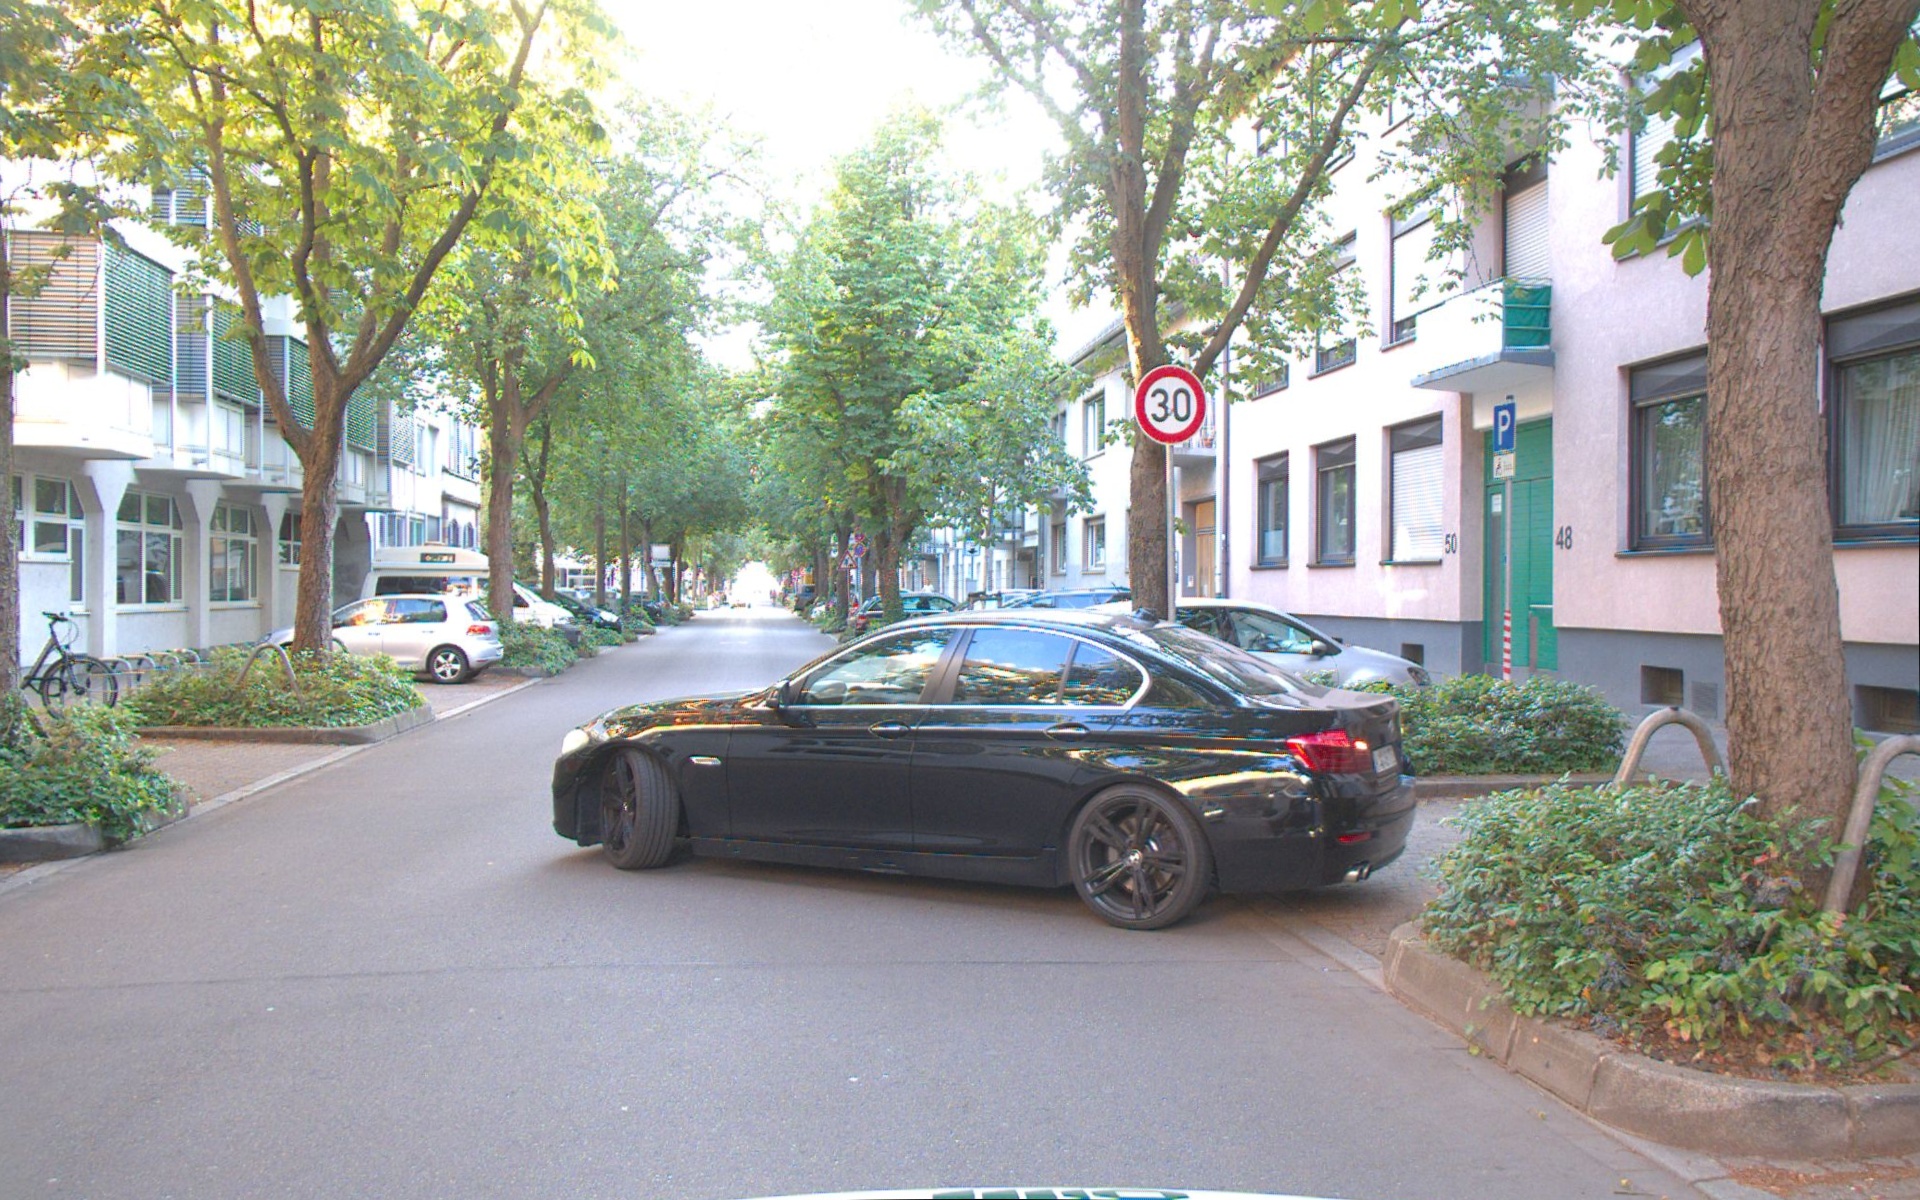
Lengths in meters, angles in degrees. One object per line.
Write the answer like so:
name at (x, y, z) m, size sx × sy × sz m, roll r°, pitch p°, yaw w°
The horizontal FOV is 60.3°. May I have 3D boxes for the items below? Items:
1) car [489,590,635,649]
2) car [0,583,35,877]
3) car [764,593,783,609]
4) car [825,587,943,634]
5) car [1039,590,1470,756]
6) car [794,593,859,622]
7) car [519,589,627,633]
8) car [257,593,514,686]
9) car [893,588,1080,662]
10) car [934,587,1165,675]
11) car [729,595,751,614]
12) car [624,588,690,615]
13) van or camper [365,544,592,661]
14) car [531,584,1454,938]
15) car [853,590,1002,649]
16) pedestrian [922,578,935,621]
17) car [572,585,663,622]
car at (-11.490, 0.543, 47.930) m, size 3.891 × 1.647 × 1.783 m, roll 0°, pitch 0°, yaw -6°
car at (-7.106, 0.694, 7.938) m, size 4.272 × 1.544 × 1.782 m, roll 0°, pitch 0°, yaw -7°
car at (-18.274, 0.094, 162.363) m, size 1.787 × 1.557 × 3.995 m, roll -1°, pitch 0°, yaw -6°
car at (-2.626, 0.346, 56.848) m, size 3.894 × 1.554 × 1.782 m, roll 0°, pitch 0°, yaw -9°
car at (2.812, 0.657, 16.178) m, size 3.836 × 1.502 × 1.661 m, roll 0°, pitch 0°, yaw -9°
car at (-8.161, 0.440, 100.715) m, size 3.891 × 1.713 × 1.783 m, roll 0°, pitch 0°, yaw -6°
car at (-15.009, 0.415, 64.344) m, size 3.891 × 1.647 × 1.783 m, roll 0°, pitch 0°, yaw -6°
car at (-9.863, 0.653, 28.650) m, size 3.891 × 1.544 × 1.783 m, roll 0°, pitch 0°, yaw -6°
car at (0.544, 0.514, 36.220) m, size 3.893 × 1.554 × 1.782 m, roll 0°, pitch 0°, yaw -8°
car at (1.571, 0.525, 29.778) m, size 3.894 × 1.502 × 1.781 m, roll 0°, pitch 0°, yaw -9°
car at (-19.117, 0.372, 143.668) m, size 1.745 × 1.589 × 4.162 m, roll 0°, pitch 0°, yaw -6°
car at (-18.775, 0.067, 102.636) m, size 3.891 × 1.647 × 1.783 m, roll 0°, pitch 0°, yaw -6°
van or camper at (-10.672, 0.037, 36.952) m, size 4.575 × 2.521 × 1.997 m, roll 0°, pitch 0°, yaw -7°
car at (0.110, 0.676, 8.883) m, size 4.652 × 1.506 × 1.798 m, roll 0°, pitch 0°, yaw 27°
car at (-0.907, 0.521, 45.008) m, size 3.893 × 1.554 × 1.782 m, roll 0°, pitch 0°, yaw -8°
pedestrian at (-1.517, -0.019, 79.658) m, size 0.577 × 2.049 × 0.669 m, roll 0°, pitch 0°, yaw -6°
car at (-15.697, 0.140, 75.999) m, size 3.891 × 1.647 × 1.783 m, roll 0°, pitch 0°, yaw -6°
